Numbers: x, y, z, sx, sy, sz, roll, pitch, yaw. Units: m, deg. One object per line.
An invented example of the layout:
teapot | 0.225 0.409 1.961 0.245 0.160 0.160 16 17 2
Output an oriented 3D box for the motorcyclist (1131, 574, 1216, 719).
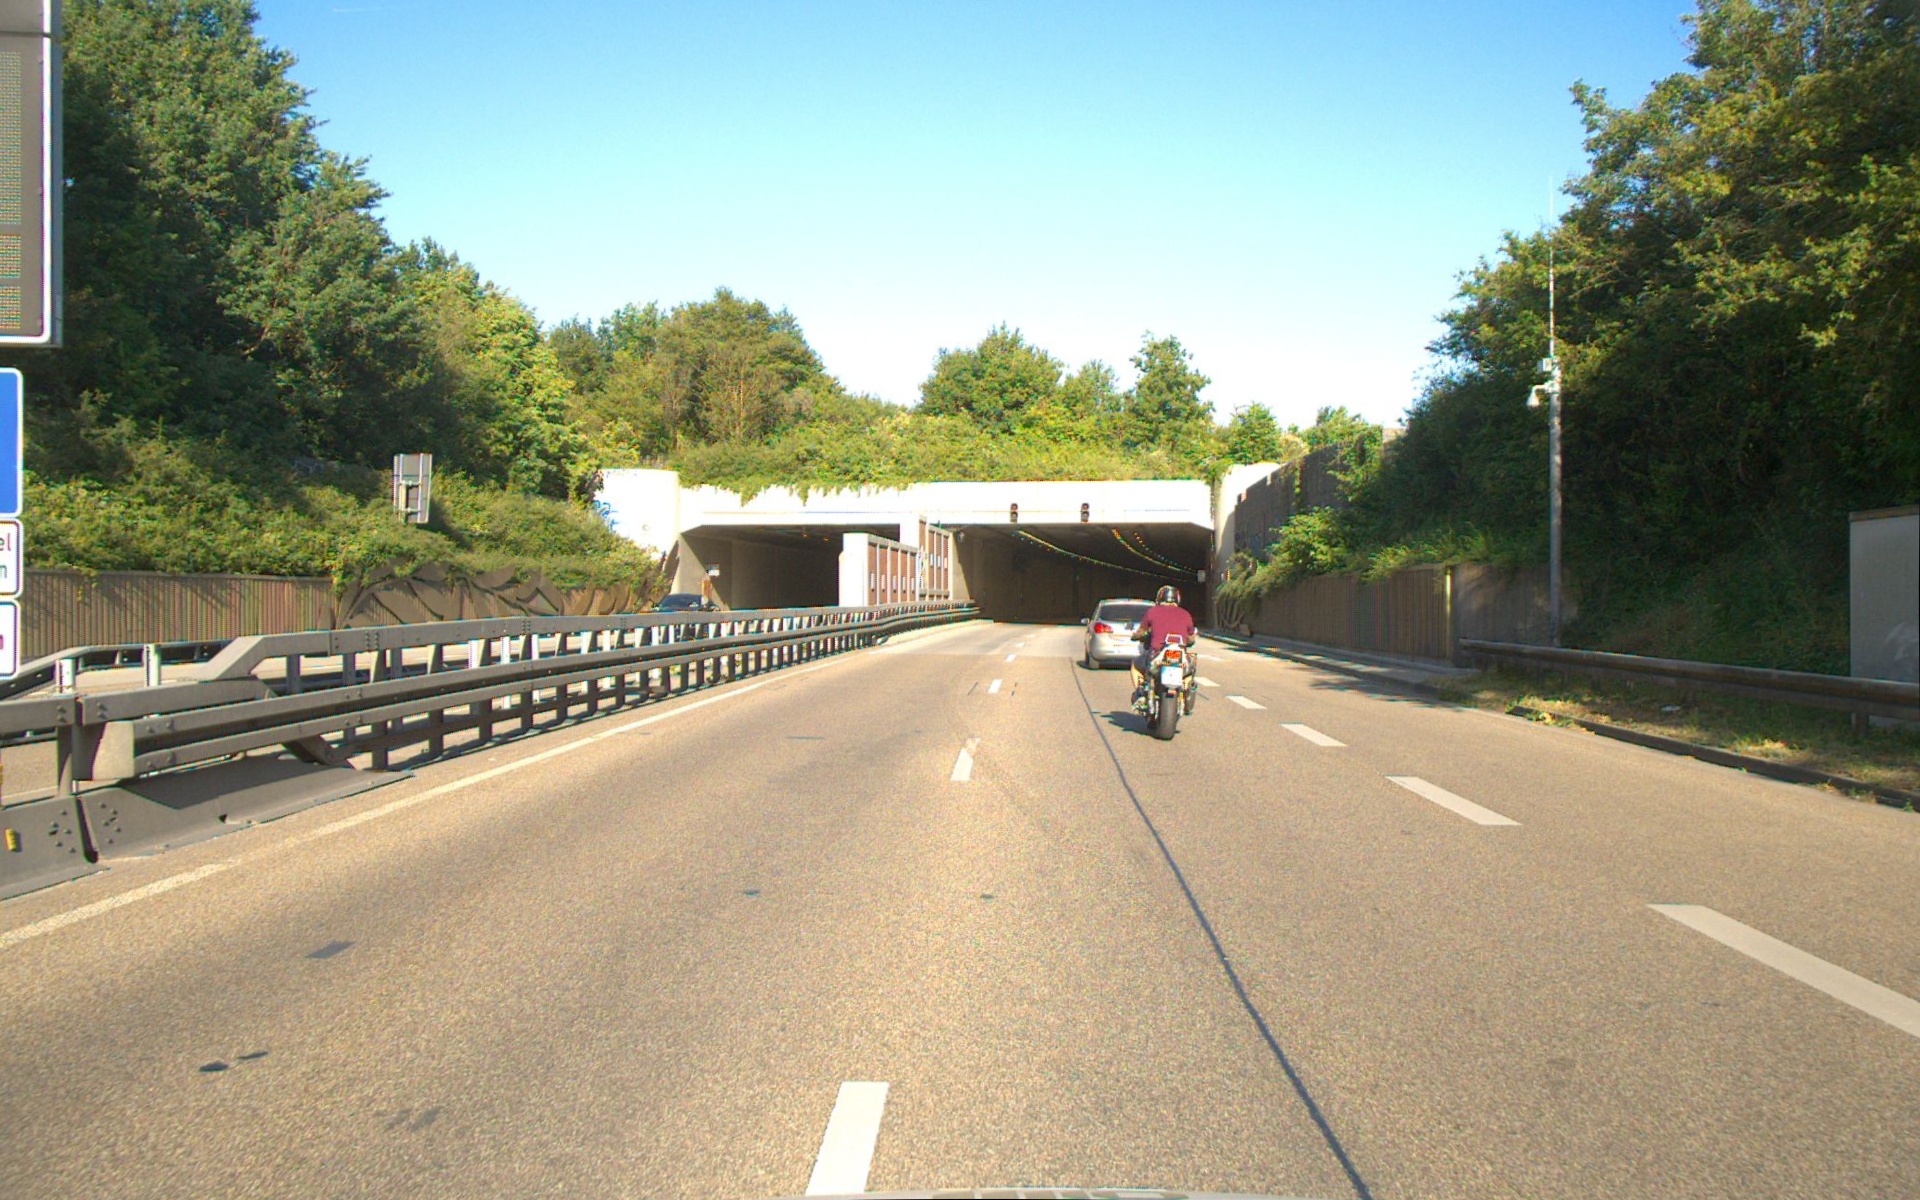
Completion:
motorcyclist | 2.360 0.490 18.236 0.864 1.527 1.064 1 1 8

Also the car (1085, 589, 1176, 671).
car | 3.632 0.608 35.870 1.632 1.579 4.001 1 1 1

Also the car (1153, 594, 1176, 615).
car | 20.481 0.436 165.403 1.951 1.959 4.004 0 1 12

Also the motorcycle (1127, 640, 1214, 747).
motorcycle | 2.352 0.985 18.214 0.840 1.008 2.731 1 0 9

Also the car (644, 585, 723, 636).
car | -10.021 0.330 60.267 1.632 1.704 4.866 1 1 5
